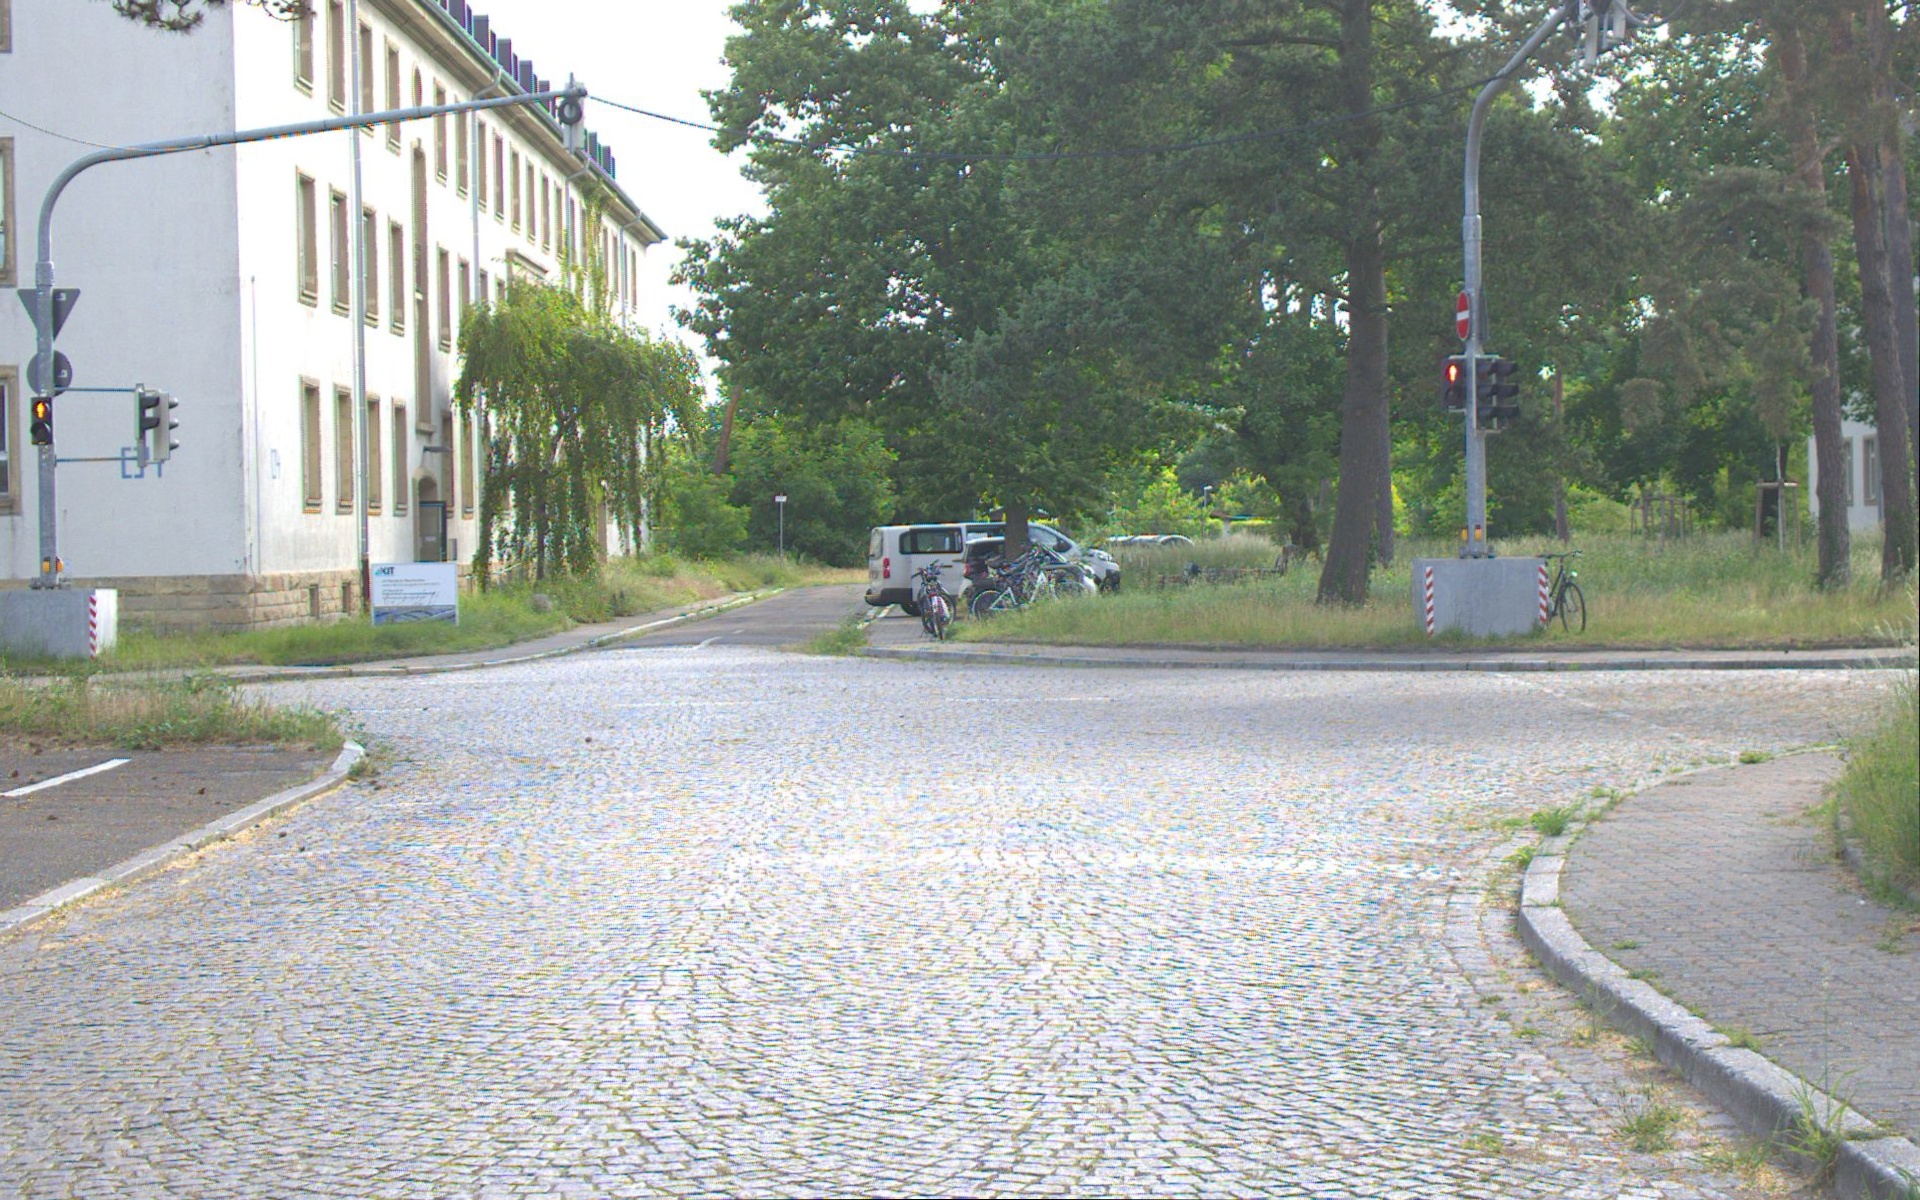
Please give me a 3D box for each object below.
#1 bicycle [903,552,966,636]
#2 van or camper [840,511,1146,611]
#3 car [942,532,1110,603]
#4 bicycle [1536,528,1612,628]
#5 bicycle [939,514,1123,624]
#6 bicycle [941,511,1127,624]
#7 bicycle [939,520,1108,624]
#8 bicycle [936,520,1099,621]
[{"bbox_3d":[-0.358,-0.100,49.432,0.725,1.104,2.462,-5,1,2],"label":"bicycle"},{"bbox_3d":[0.675,-0.834,71.664,6.030,1.942,2.001,-1,1,-13],"label":"van or camper"},{"bbox_3d":[1.293,-0.656,68.081,3.137,1.349,1.620,-1,1,-5],"label":"car"},{"bbox_3d":[7.456,-0.276,41.811,0.724,1.165,2.736,1,1,7],"label":"bicycle"},{"bbox_3d":[1.127,-0.507,54.882,2.775,1.688,1.120,-1,1,-7],"label":"bicycle"},{"bbox_3d":[1.148,-0.511,53.688,2.775,1.688,1.120,-1,1,-5],"label":"bicycle"},{"bbox_3d":[1.086,-0.478,58.450,2.776,1.688,1.120,1,1,4],"label":"bicycle"},{"bbox_3d":[1.007,-0.517,59.789,2.776,1.688,1.120,1,1,2],"label":"bicycle"}]
